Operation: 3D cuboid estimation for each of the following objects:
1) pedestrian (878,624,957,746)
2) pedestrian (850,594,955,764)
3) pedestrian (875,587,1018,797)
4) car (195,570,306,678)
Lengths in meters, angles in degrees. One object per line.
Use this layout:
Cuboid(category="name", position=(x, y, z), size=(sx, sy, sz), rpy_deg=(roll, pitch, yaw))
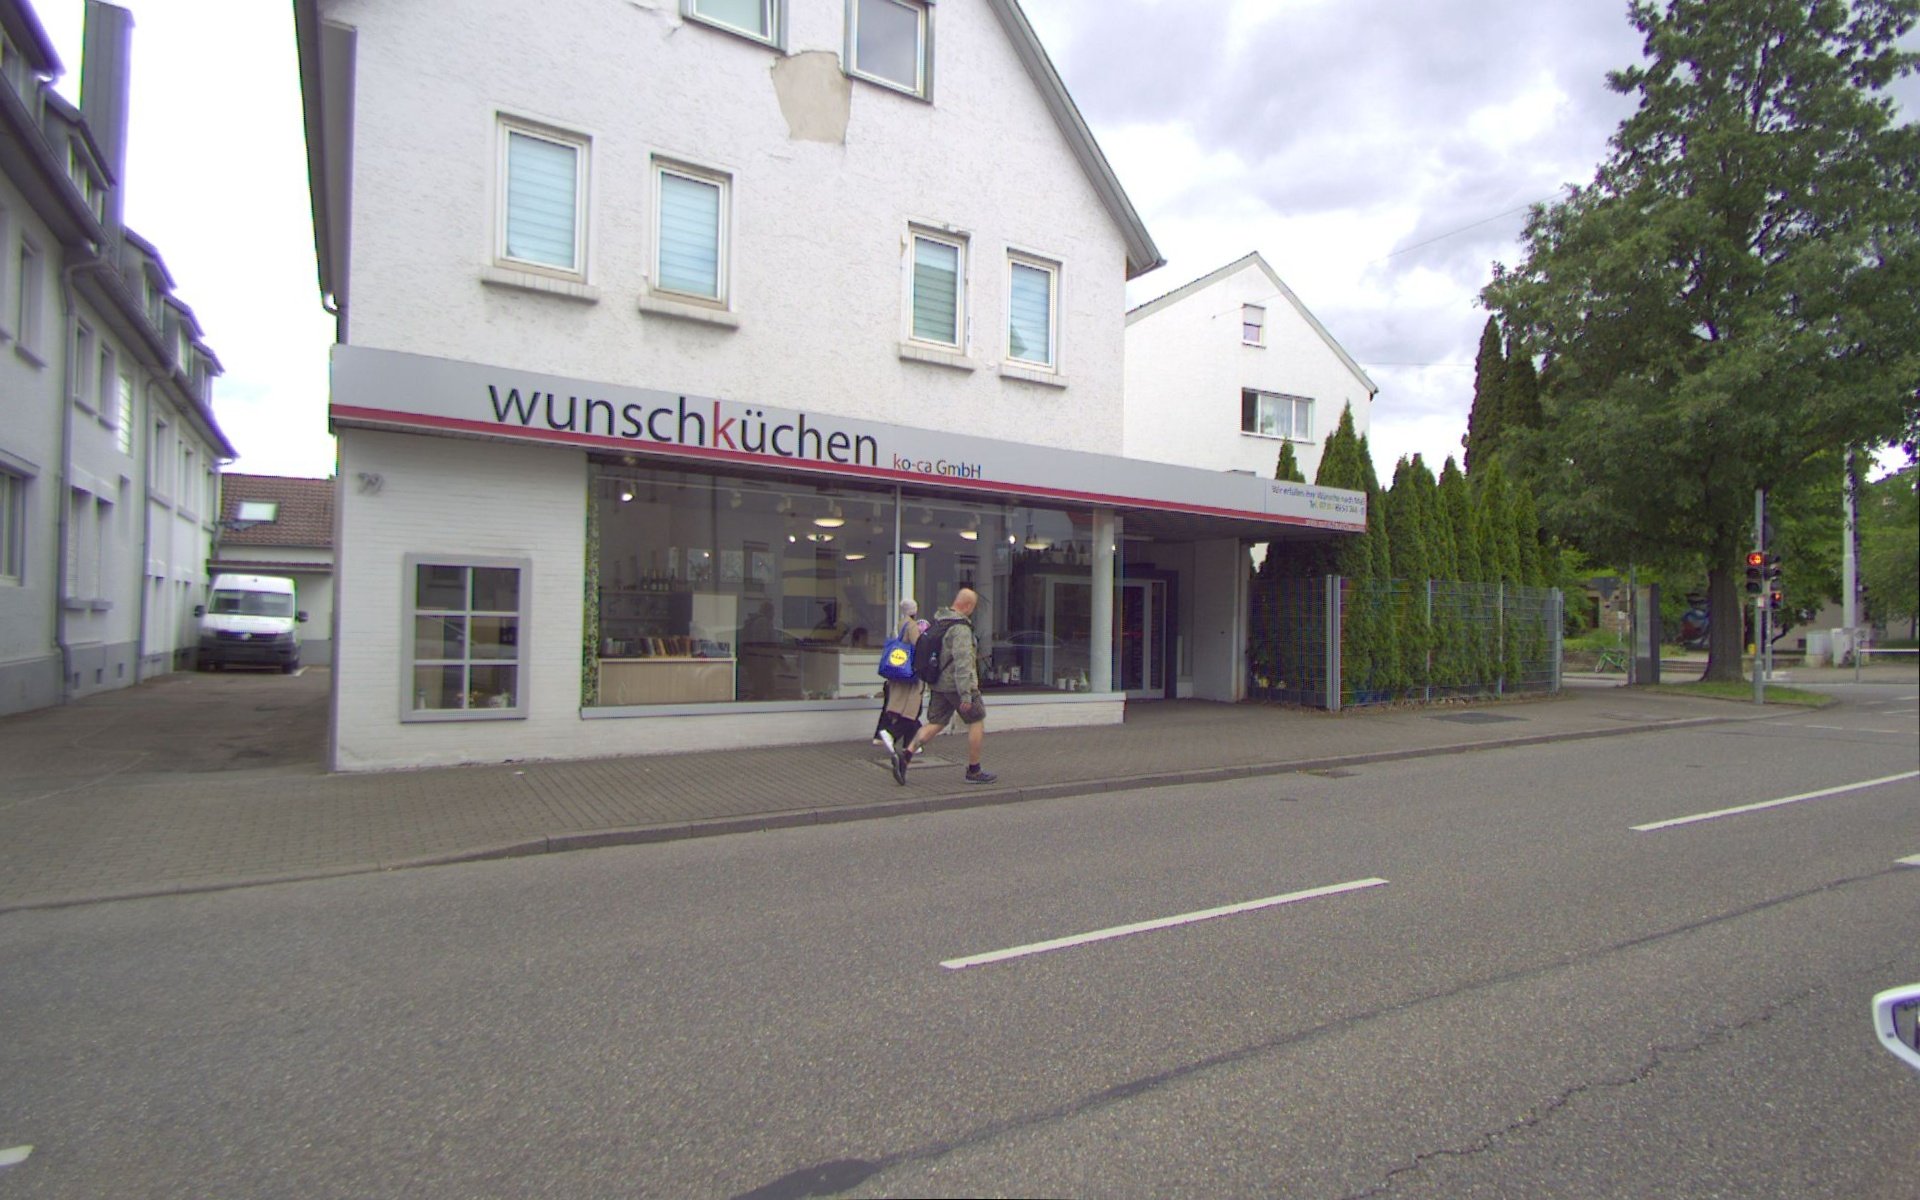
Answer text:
Cuboid(category="pedestrian", position=(-0.483, 0.928, 11.238), size=(0.647, 1.297, 0.596), rpy_deg=(1, 1, -31))
Cuboid(category="pedestrian", position=(-0.604, 0.787, 10.396), size=(0.784, 1.638, 0.747), rpy_deg=(1, 2, -31))
Cuboid(category="pedestrian", position=(-0.130, 0.788, 9.100), size=(1.008, 1.767, 0.747), rpy_deg=(1, 1, -31))
Cuboid(category="car", position=(-19.068, 0.599, 27.252), size=(1.938, 2.541, 5.943), rpy_deg=(4, -2, -32))
